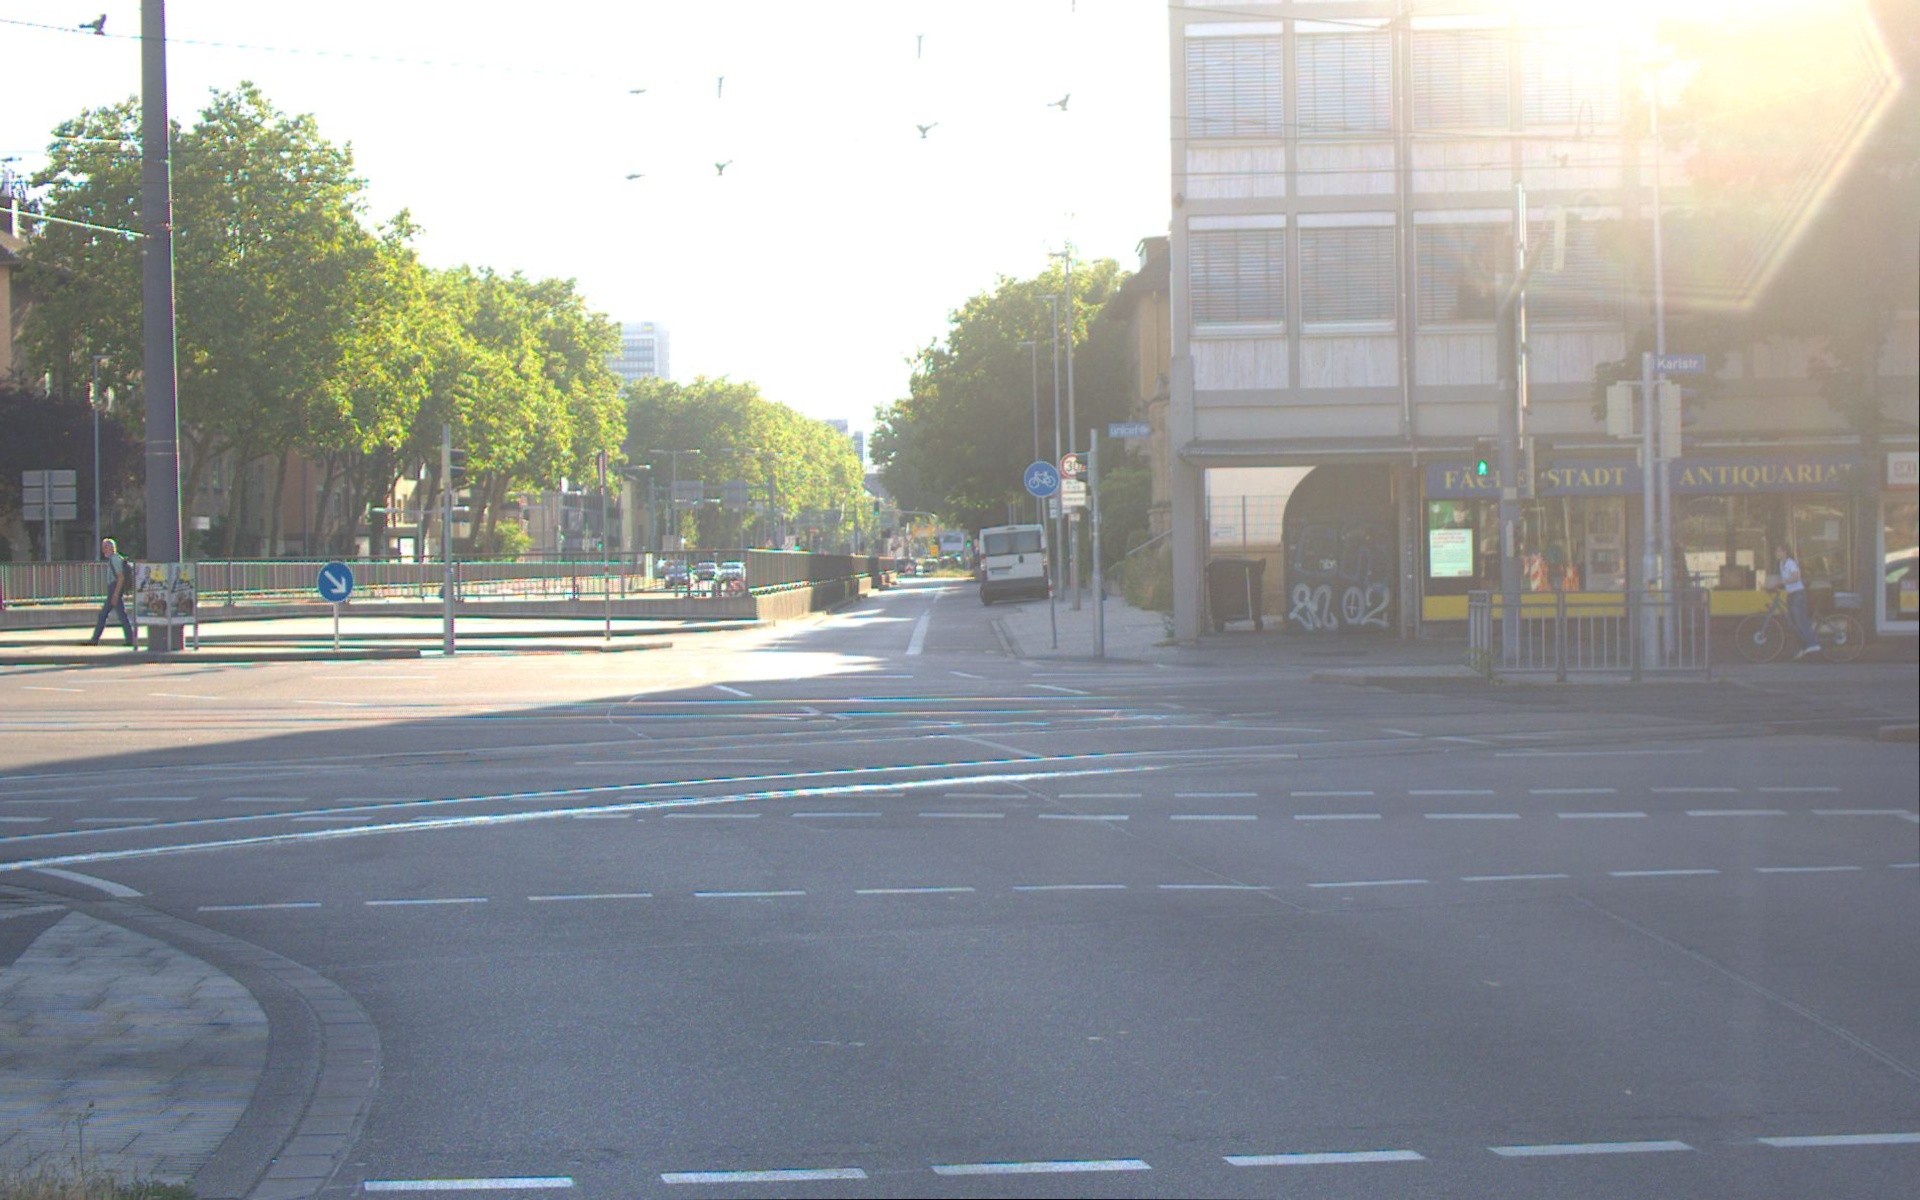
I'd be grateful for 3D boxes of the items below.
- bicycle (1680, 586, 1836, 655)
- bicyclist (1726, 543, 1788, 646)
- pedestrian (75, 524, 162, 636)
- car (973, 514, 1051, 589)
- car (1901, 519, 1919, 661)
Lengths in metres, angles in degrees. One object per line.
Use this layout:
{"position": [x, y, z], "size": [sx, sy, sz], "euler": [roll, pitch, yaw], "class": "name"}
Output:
{"position": [11.187, 0.283, 48.235], "size": [2.024, 0.937, 0.671], "euler": [1, 0, -1], "class": "bicycle"}
{"position": [11.172, -0.082, 48.227], "size": [0.679, 1.419, 0.671], "euler": [1, 0, -1], "class": "bicyclist"}
{"position": [-13.256, -0.318, 54.173], "size": [1.194, 1.725, 0.856], "euler": [1, 0, -5], "class": "pedestrian"}
{"position": [1.592, -1.455, 103.911], "size": [2.286, 2.165, 4.833], "euler": [1, 1, 1], "class": "car"}
{"position": [12.906, -0.088, 39.050], "size": [3.987, 1.612, 1.844], "euler": [1, 0, 5], "class": "car"}
